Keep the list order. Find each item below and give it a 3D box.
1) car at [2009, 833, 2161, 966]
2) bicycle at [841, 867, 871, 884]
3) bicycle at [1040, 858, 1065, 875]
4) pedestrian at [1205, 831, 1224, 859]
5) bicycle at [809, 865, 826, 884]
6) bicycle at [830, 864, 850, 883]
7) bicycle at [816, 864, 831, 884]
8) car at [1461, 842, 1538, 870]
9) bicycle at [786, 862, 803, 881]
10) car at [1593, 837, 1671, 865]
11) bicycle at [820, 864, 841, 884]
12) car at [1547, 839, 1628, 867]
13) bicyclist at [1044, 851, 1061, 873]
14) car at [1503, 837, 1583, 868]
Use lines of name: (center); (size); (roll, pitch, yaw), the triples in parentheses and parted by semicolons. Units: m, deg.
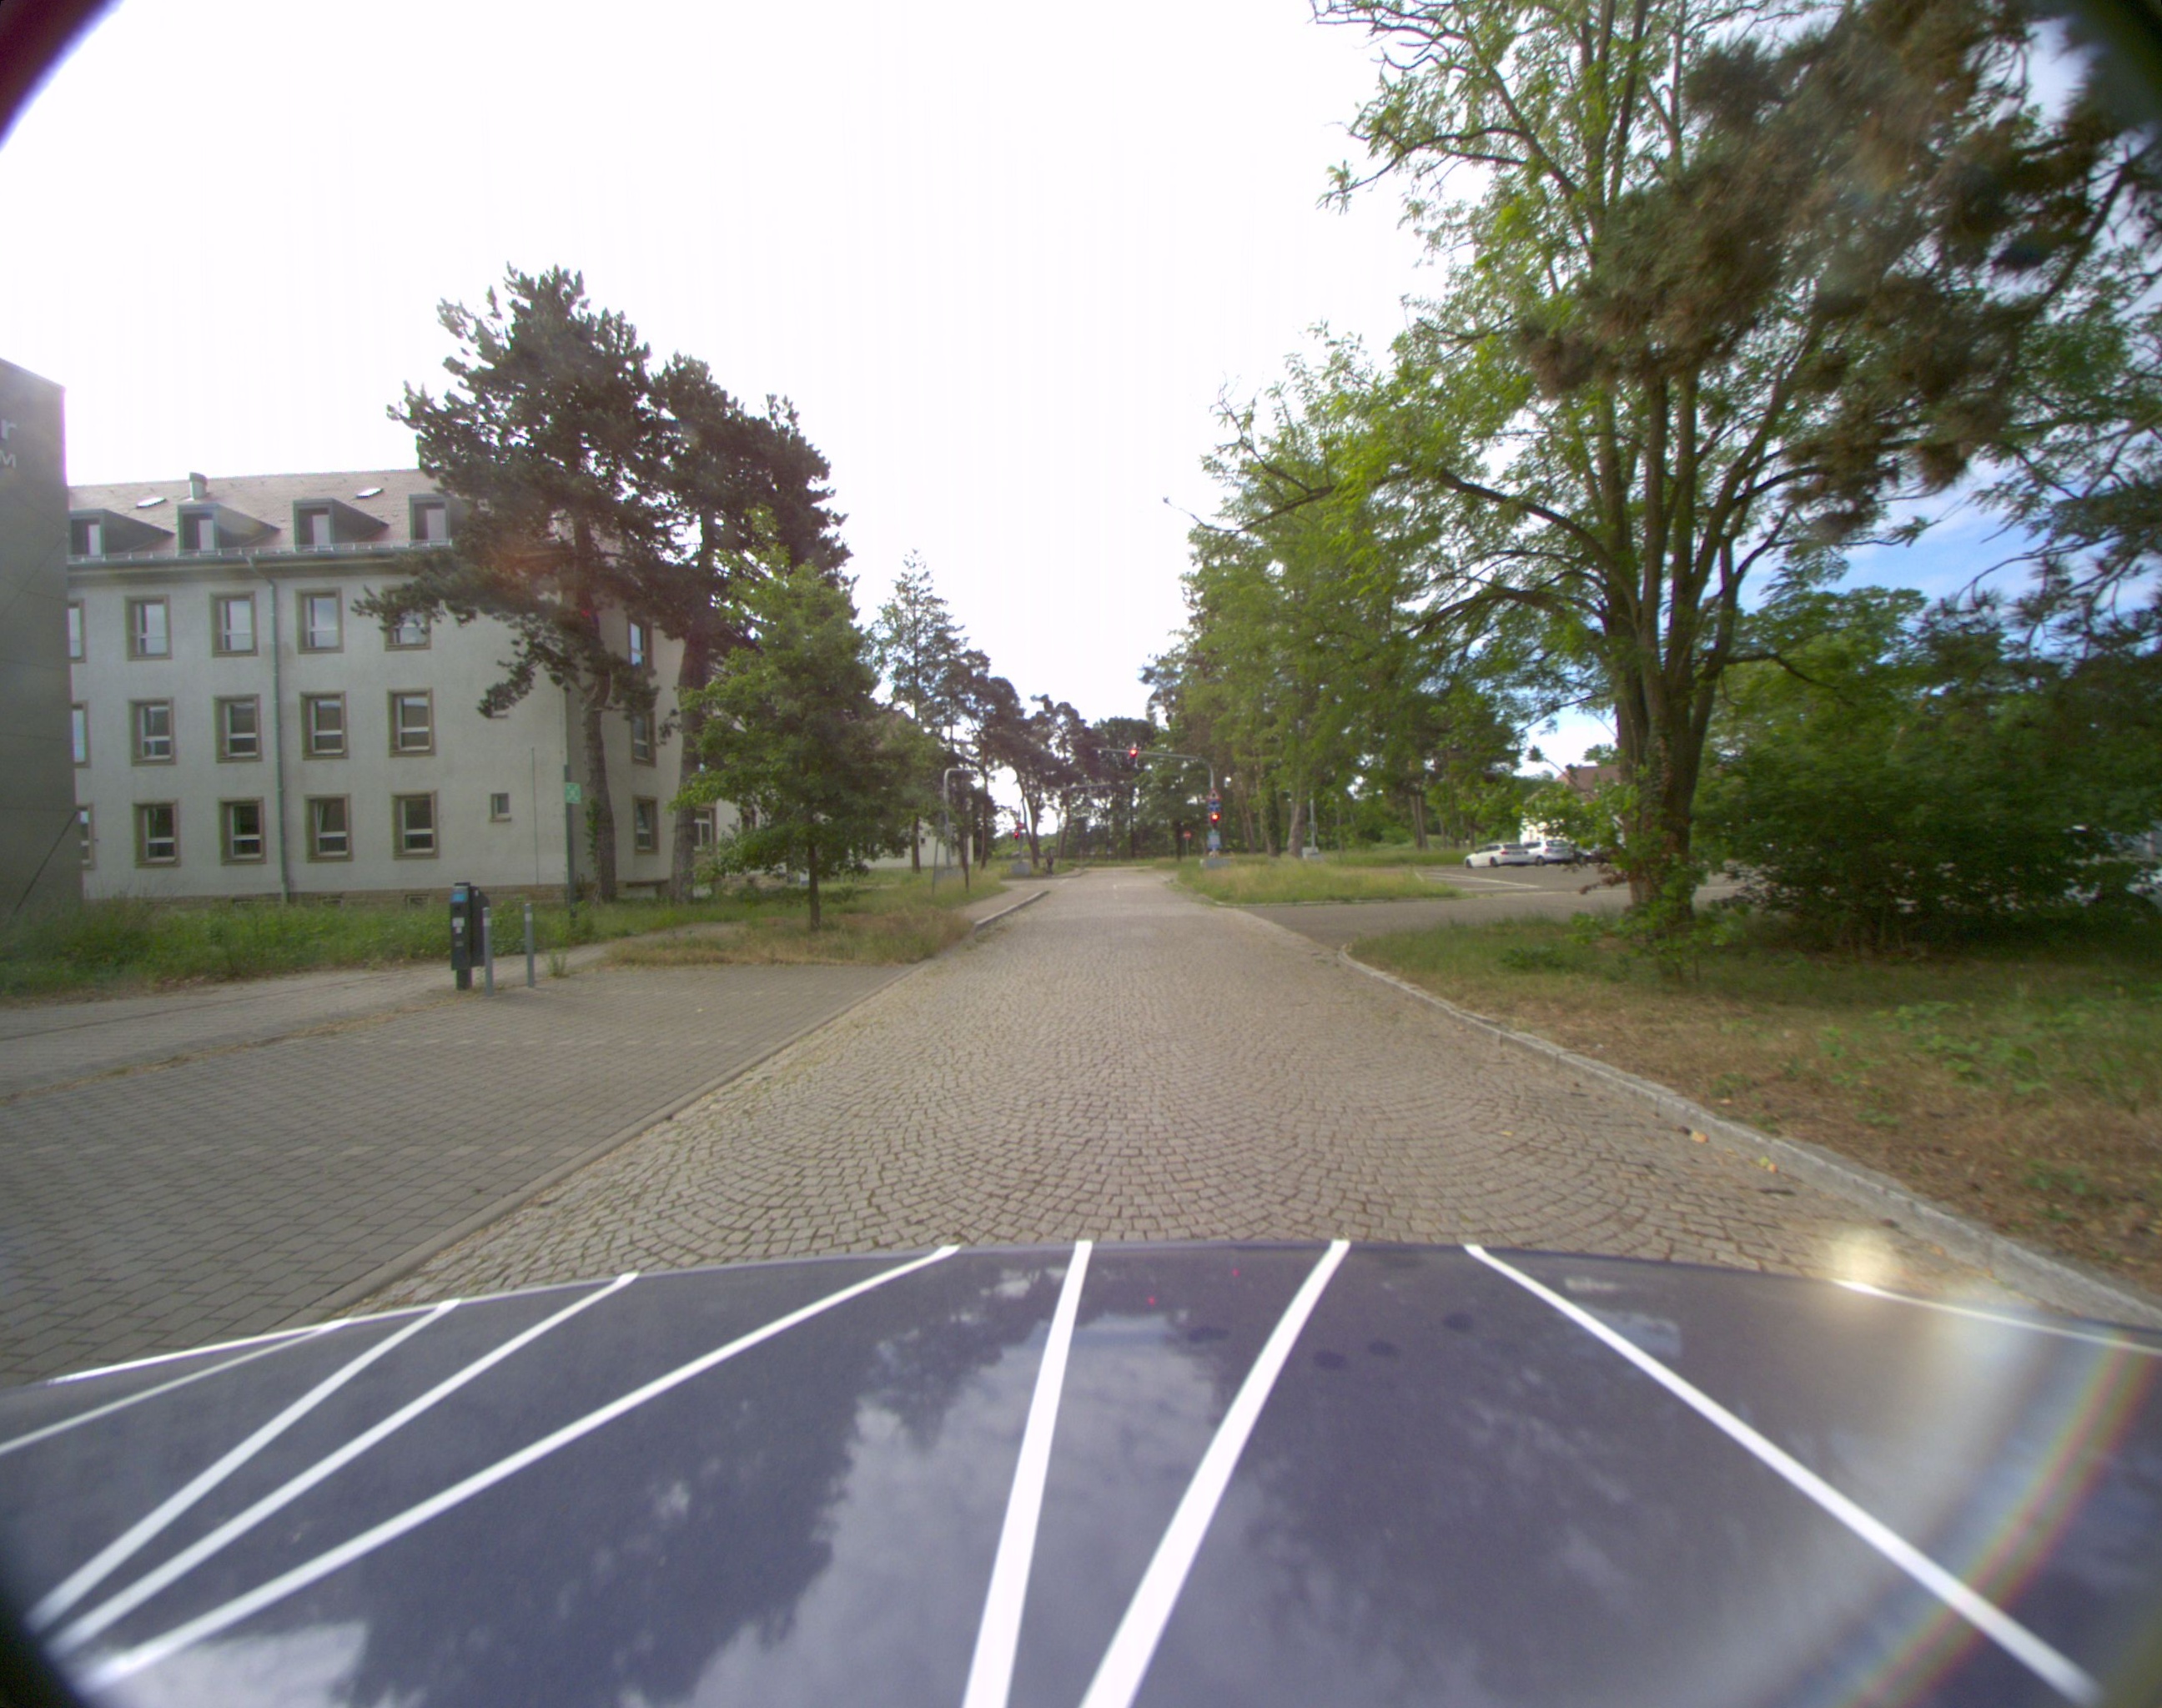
car: (12.589, 0.477, 7.365); (1.720, 1.430, 4.467); (-2, 0, 0)
bicycle: (-15.441, 1.442, 52.133); (1.836, 1.079, 0.573); (-2, 2, 6)
bicycle: (-2.136, 0.953, 58.224); (0.962, 1.268, 2.167); (-2, 0, 26)
pedestrian: (7.247, -0.482, 41.145); (0.882, 1.509, 0.822); (-2, 0, 16)
bicycle: (-18.638, 1.437, 53.824); (0.572, 1.324, 1.837); (-2, 0, -3)
bicycle: (-17.080, 1.376, 53.862); (0.572, 1.324, 1.839); (-2, 0, 10)
bicycle: (-18.207, 1.413, 53.797); (0.482, 1.324, 1.837); (-2, 0, -3)
car: (24.366, 0.140, 44.434); (1.840, 1.441, 4.656); (-2, -2, 0)
bicycle: (-20.269, 1.215, 53.759); (0.572, 1.324, 1.837); (-2, 0, -3)
car: (32.387, -0.138, 44.816); (1.736, 1.512, 4.115); (-2, -2, 3)
bicycle: (-17.711, 1.385, 53.768); (0.572, 1.324, 1.839); (-2, 0, 10)
car: (29.634, -0.019, 44.644); (1.839, 1.460, 4.586); (-2, -1, 2)
bicyclist: (-2.176, 0.626, 58.192); (0.962, 1.626, 0.919); (-2, 0, 26)
car: (26.977, -0.042, 44.525); (1.840, 1.568, 4.586); (-2, -2, 0)
